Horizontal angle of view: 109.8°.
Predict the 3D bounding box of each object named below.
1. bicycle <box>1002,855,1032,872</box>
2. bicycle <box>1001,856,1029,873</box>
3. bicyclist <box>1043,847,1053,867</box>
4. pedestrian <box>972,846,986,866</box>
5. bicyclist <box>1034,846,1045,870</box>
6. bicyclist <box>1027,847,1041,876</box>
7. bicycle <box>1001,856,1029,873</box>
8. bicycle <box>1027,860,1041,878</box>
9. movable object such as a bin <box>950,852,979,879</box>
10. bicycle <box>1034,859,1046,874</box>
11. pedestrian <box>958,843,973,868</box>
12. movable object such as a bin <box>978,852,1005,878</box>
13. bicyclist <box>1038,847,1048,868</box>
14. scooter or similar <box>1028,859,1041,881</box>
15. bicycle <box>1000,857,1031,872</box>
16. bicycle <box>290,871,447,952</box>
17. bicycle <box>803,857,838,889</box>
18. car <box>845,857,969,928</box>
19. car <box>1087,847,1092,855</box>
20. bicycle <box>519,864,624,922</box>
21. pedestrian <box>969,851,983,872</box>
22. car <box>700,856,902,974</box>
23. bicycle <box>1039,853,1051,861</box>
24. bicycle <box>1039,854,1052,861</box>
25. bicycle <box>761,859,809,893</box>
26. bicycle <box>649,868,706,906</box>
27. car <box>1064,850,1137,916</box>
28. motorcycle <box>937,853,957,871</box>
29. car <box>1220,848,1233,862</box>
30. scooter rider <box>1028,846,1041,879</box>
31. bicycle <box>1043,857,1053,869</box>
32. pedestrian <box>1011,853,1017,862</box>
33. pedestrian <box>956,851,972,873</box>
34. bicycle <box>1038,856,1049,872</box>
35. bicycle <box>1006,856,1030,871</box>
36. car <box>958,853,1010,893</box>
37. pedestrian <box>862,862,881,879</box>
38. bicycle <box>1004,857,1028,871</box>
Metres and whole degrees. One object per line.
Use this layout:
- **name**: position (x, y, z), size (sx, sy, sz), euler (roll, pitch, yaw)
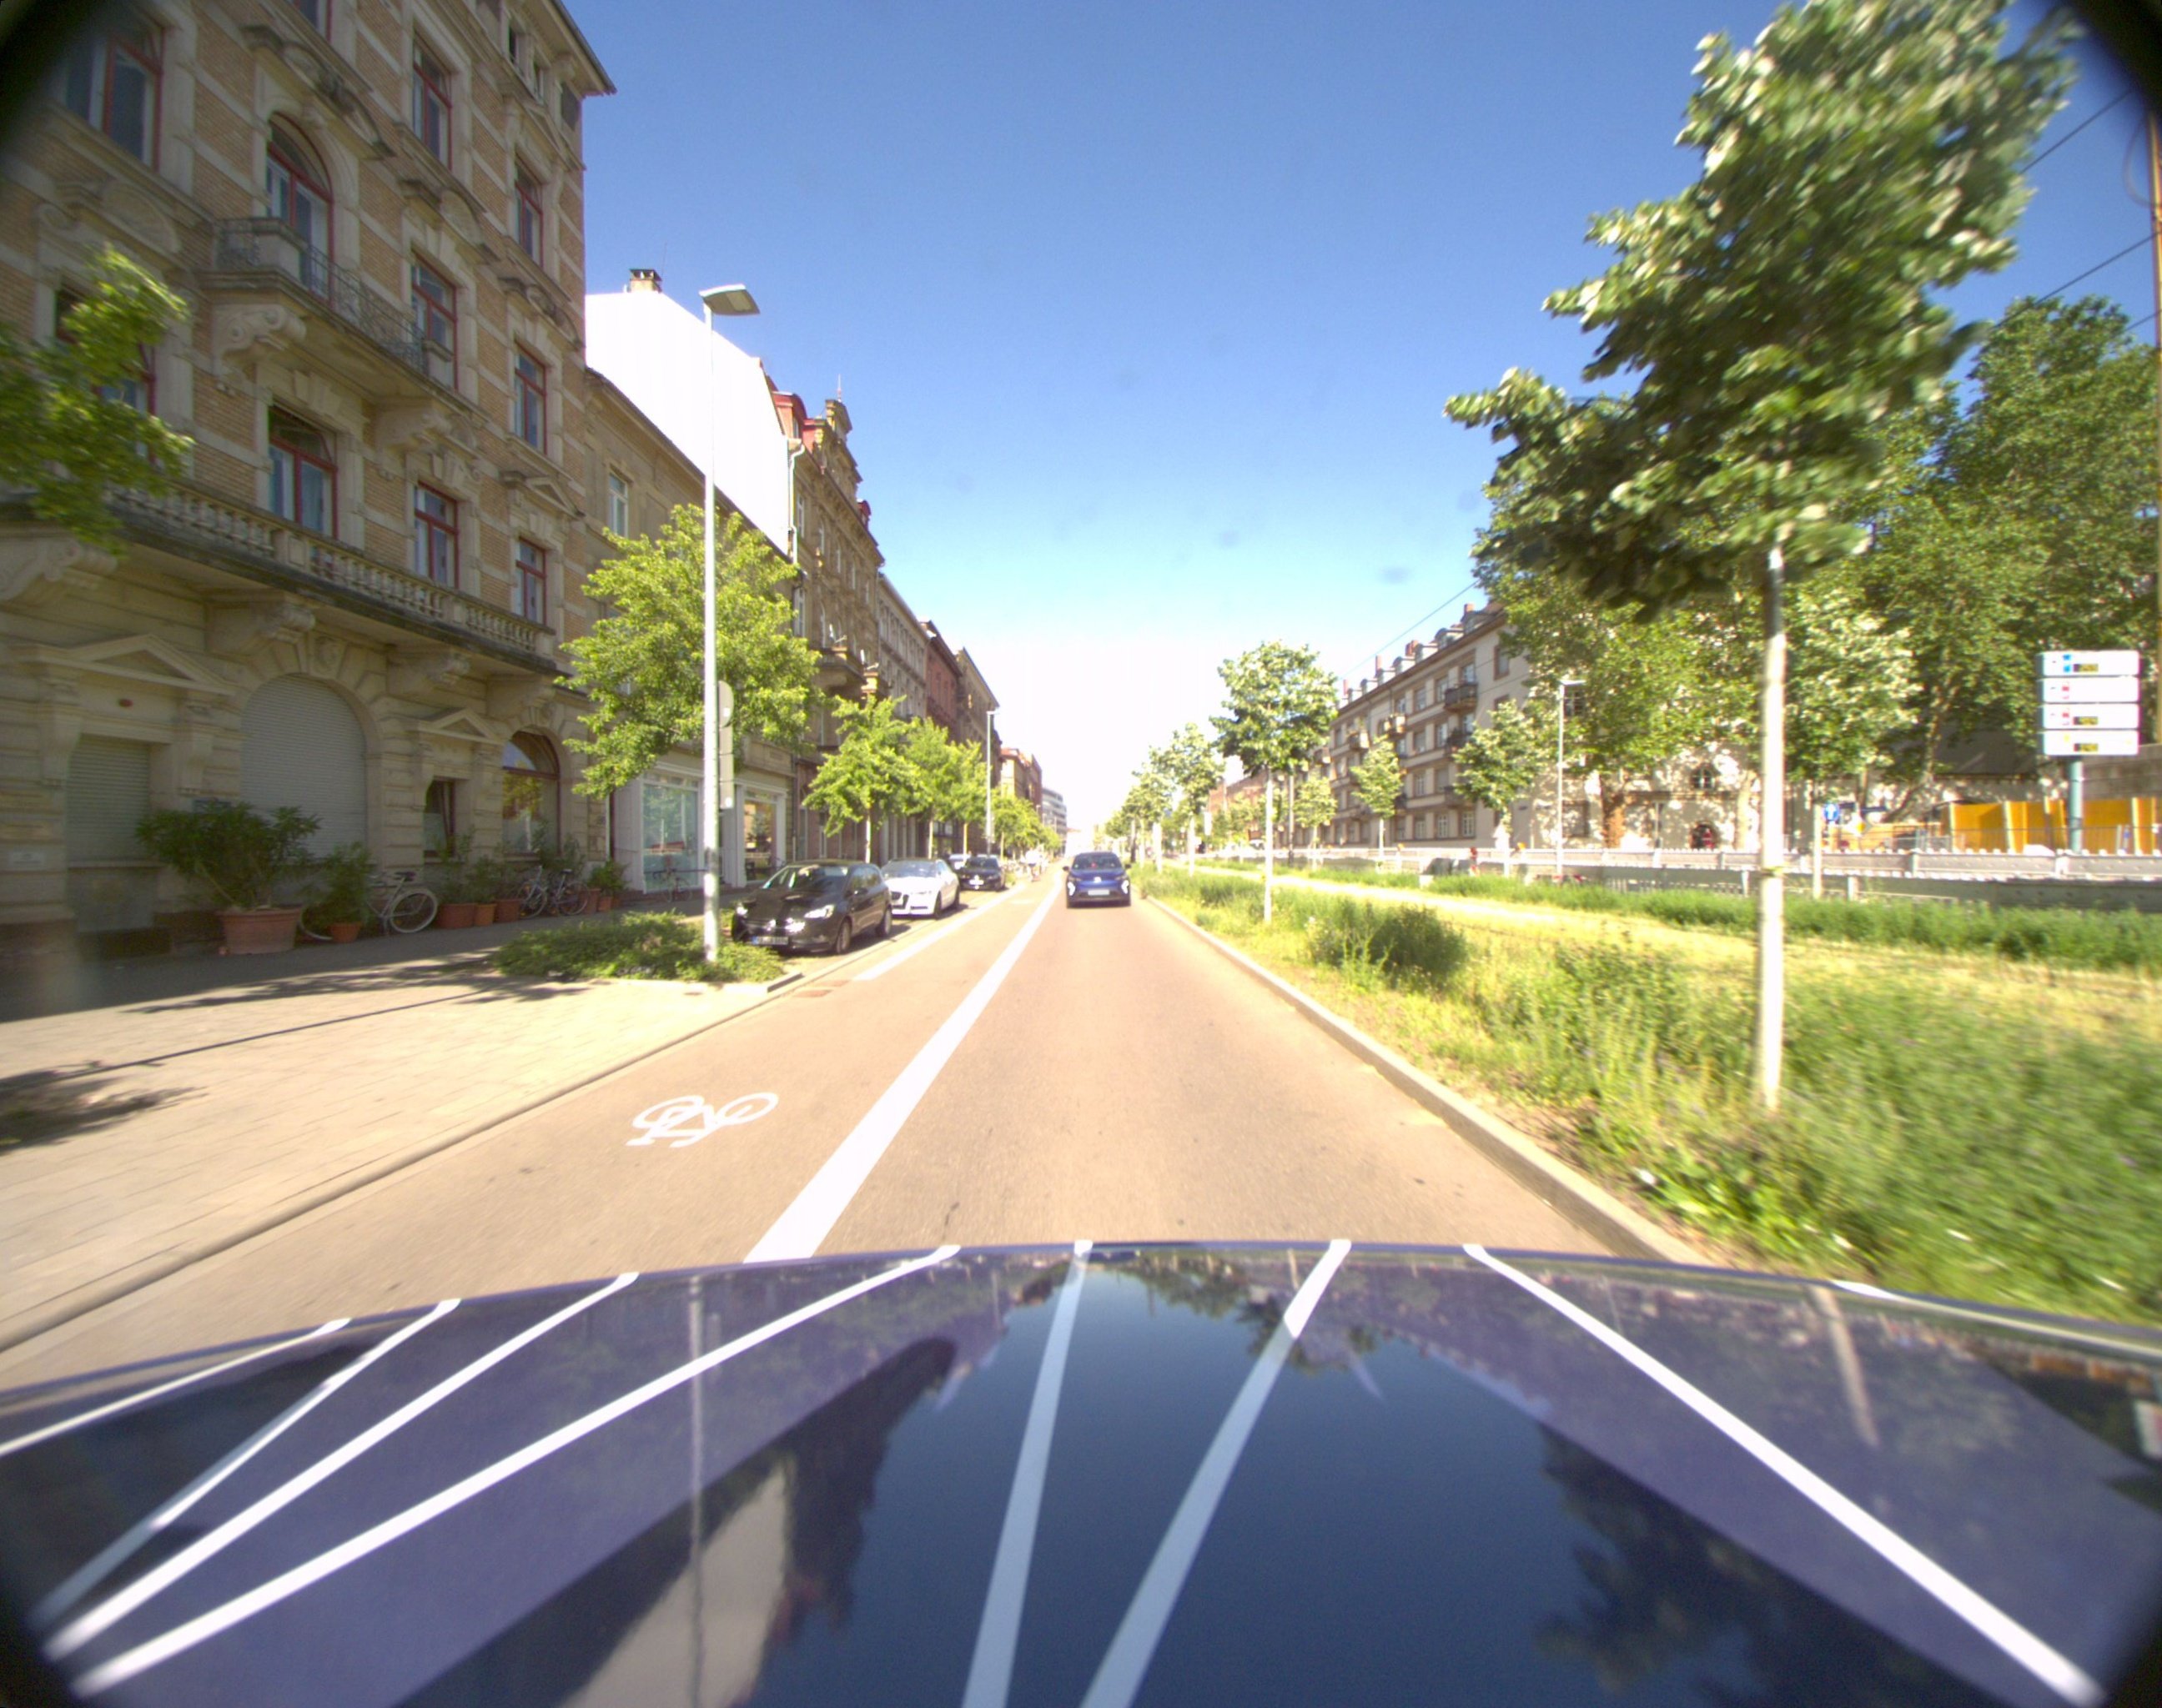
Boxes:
- **bicycle**: position (-4.814, 0.727, 57.202), size (2.154, 1.148, 0.429), euler (3, 1, -13)
- **bicycle**: position (-4.873, 0.763, 56.119), size (2.049, 1.100, 0.610), euler (3, 1, -5)
- **bicyclist**: position (-2.946, 0.281, 67.960), size (0.854, 1.717, 0.988), euler (-1, 1, 0)
- **pedestrian**: position (-9.039, 0.175, 67.324), size (0.972, 1.682, 1.114), euler (2, 1, 2)
- **bicyclist**: position (-2.881, 0.265, 52.435), size (0.700, 1.647, 0.977), euler (-1, 1, -3)
- **bicyclist**: position (-2.933, 0.447, 47.412), size (0.725, 1.807, 1.091), euler (-1, 1, 1)
- **bicycle**: position (-4.871, 0.772, 55.711), size (1.980, 1.117, 0.481), euler (3, 0, -5)
- **bicycle**: position (-2.922, 0.925, 47.419), size (0.725, 1.000, 1.952), euler (-1, 0, 1)
- **movable object such as a bin**: position (-6.936, 0.655, 45.306), size (1.376, 1.487, 1.749), euler (2, 1, 2)
- **bicycle**: position (-2.855, 0.840, 52.479), size (0.725, 1.000, 1.952), euler (-1, 0, -1)
- **pedestrian**: position (-9.183, 0.108, 60.642), size (0.891, 1.909, 1.098), euler (2, 1, 6)
- **movable object such as a bin**: position (-5.333, 0.675, 45.465), size (1.274, 1.454, 1.645), euler (-1, -2, 5)
- **bicyclist**: position (-2.927, 0.271, 58.992), size (0.725, 1.595, 0.895), euler (-1, 1, 0)
- **scooter or similar**: position (-2.615, 0.893, 42.657), size (0.647, 1.151, 1.150), euler (-1, 1, 0)
- **bicycle**: position (-4.952, 0.802, 57.548), size (2.293, 1.096, 0.485), euler (2, 1, -14)
- **bicycle**: position (-10.983, 0.842, 11.827), size (0.482, 1.084, 2.057), euler (1, 0, 1)
- **bicycle**: position (-10.391, 0.745, 30.367), size (0.750, 1.194, 1.800), euler (1, 1, 0)
- **car**: position (-4.348, 0.889, 19.871), size (1.956, 1.486, 5.104), euler (2, 1, 1)
- **car**: position (2.900, -1.027, 261.060), size (1.758, 2.472, 4.610), euler (-1, 0, 0)
- **bicycle**: position (-10.777, 0.791, 16.170), size (0.723, 1.084, 2.198), euler (1, 0, 1)
- **pedestrian**: position (-7.969, 0.565, 57.743), size (0.953, 1.557, 1.080), euler (1, 0, 0)
- **car**: position (-4.559, 0.891, 13.136), size (1.888, 1.560, 4.219), euler (2, 1, 0)
- **bicycle**: position (-5.561, 0.461, 116.690), size (1.876, 1.043, 0.608), euler (2, 1, -5)
- **bicycle**: position (-5.643, 0.498, 120.752), size (2.062, 1.036, 0.847), euler (3, 1, -1)
- **bicycle**: position (-10.597, 0.767, 27.304), size (0.878, 1.098, 2.181), euler (3, 0, -2)
- **bicycle**: position (-10.965, 0.872, 20.721), size (0.448, 0.939, 2.012), euler (-1, 0, 0)
- **car**: position (0.494, 0.711, 21.232), size (1.758, 1.576, 4.420), euler (-3, 0, 0)
- **motorcycle**: position (-9.846, 0.582, 55.814), size (0.868, 1.259, 2.981), euler (-1, 1, 0)
- **car**: position (25.576, 0.121, 133.363), size (1.997, 2.283, 5.191), euler (-1, 1, 8)
- **scooter rider**: position (-2.627, 0.464, 42.696), size (0.663, 1.856, 0.897), euler (-1, 1, -1)
- **bicycle**: position (-2.936, 0.768, 67.960), size (0.830, 1.000, 1.952), euler (-1, 0, 0)
- **pedestrian**: position (-8.208, 0.428, 93.130), size (0.719, 1.176, 0.881), euler (0, 1, 0)
- **pedestrian**: position (-8.794, 0.594, 57.060), size (0.973, 1.629, 0.992), euler (1, 0, 0)
- **bicycle**: position (-2.915, 0.763, 58.915), size (0.725, 1.187, 1.952), euler (-1, 0, 0)
- **bicycle**: position (-4.991, 0.773, 60.530), size (1.897, 1.102, 0.517), euler (1, 1, -4)
- **car**: position (-4.093, 0.748, 32.574), size (1.770, 1.468, 4.447), euler (2, 1, -2)
- **pedestrian**: position (-10.550, 0.826, 38.329), size (0.873, 0.814, 0.979), euler (-1, 1, -13)
- **bicycle**: position (-5.046, 0.784, 59.058), size (1.820, 1.050, 0.571), euler (1, 1, -5)
